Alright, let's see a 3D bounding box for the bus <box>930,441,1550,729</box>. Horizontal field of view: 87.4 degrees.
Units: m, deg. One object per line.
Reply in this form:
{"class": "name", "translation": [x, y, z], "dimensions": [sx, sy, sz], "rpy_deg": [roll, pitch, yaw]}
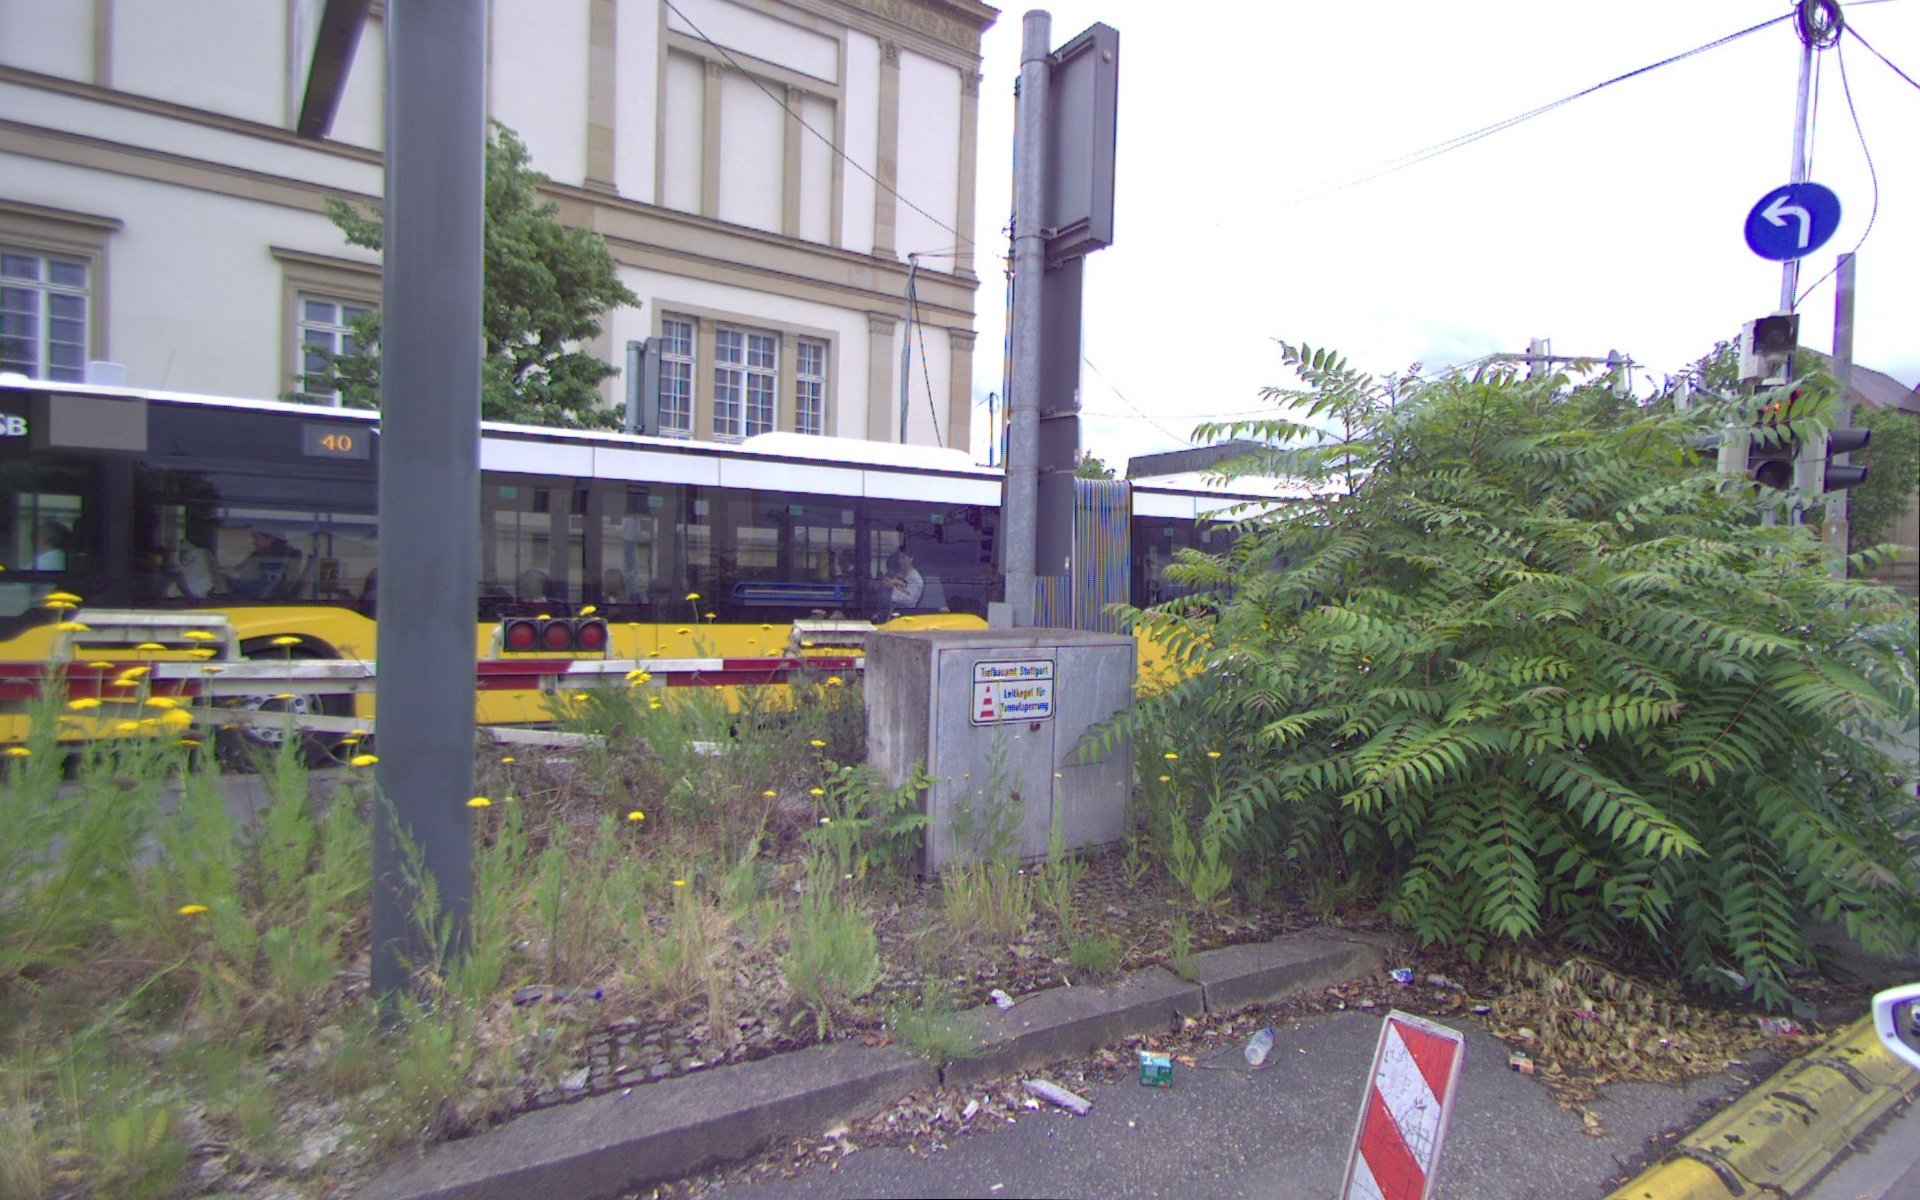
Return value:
{"class": "bus", "translation": [4.251, -0.103, 14.382], "dimensions": [9.005, 3.156, 2.835], "rpy_deg": [1, 1, -27]}

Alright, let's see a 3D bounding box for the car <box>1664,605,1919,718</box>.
{"class": "car", "translation": [13.032, 0.868, 15.554], "dimensions": [4.393, 1.492, 1.868], "rpy_deg": [1, 1, -31]}

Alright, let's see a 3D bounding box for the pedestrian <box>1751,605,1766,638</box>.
{"class": "pedestrian", "translation": [49.784, 1.328, 62.615], "dimensions": [0.516, 2.040, 0.428], "rpy_deg": [2, 1, 17]}

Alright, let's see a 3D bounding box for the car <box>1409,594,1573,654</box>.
{"class": "car", "translation": [17.109, 0.725, 32.493], "dimensions": [1.986, 1.698, 4.271], "rpy_deg": [1, 1, -43]}

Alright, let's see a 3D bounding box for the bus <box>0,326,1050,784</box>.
{"class": "bus", "translation": [-3.924, -0.261, 10.014], "dimensions": [9.628, 3.156, 2.833], "rpy_deg": [1, 1, -29]}
